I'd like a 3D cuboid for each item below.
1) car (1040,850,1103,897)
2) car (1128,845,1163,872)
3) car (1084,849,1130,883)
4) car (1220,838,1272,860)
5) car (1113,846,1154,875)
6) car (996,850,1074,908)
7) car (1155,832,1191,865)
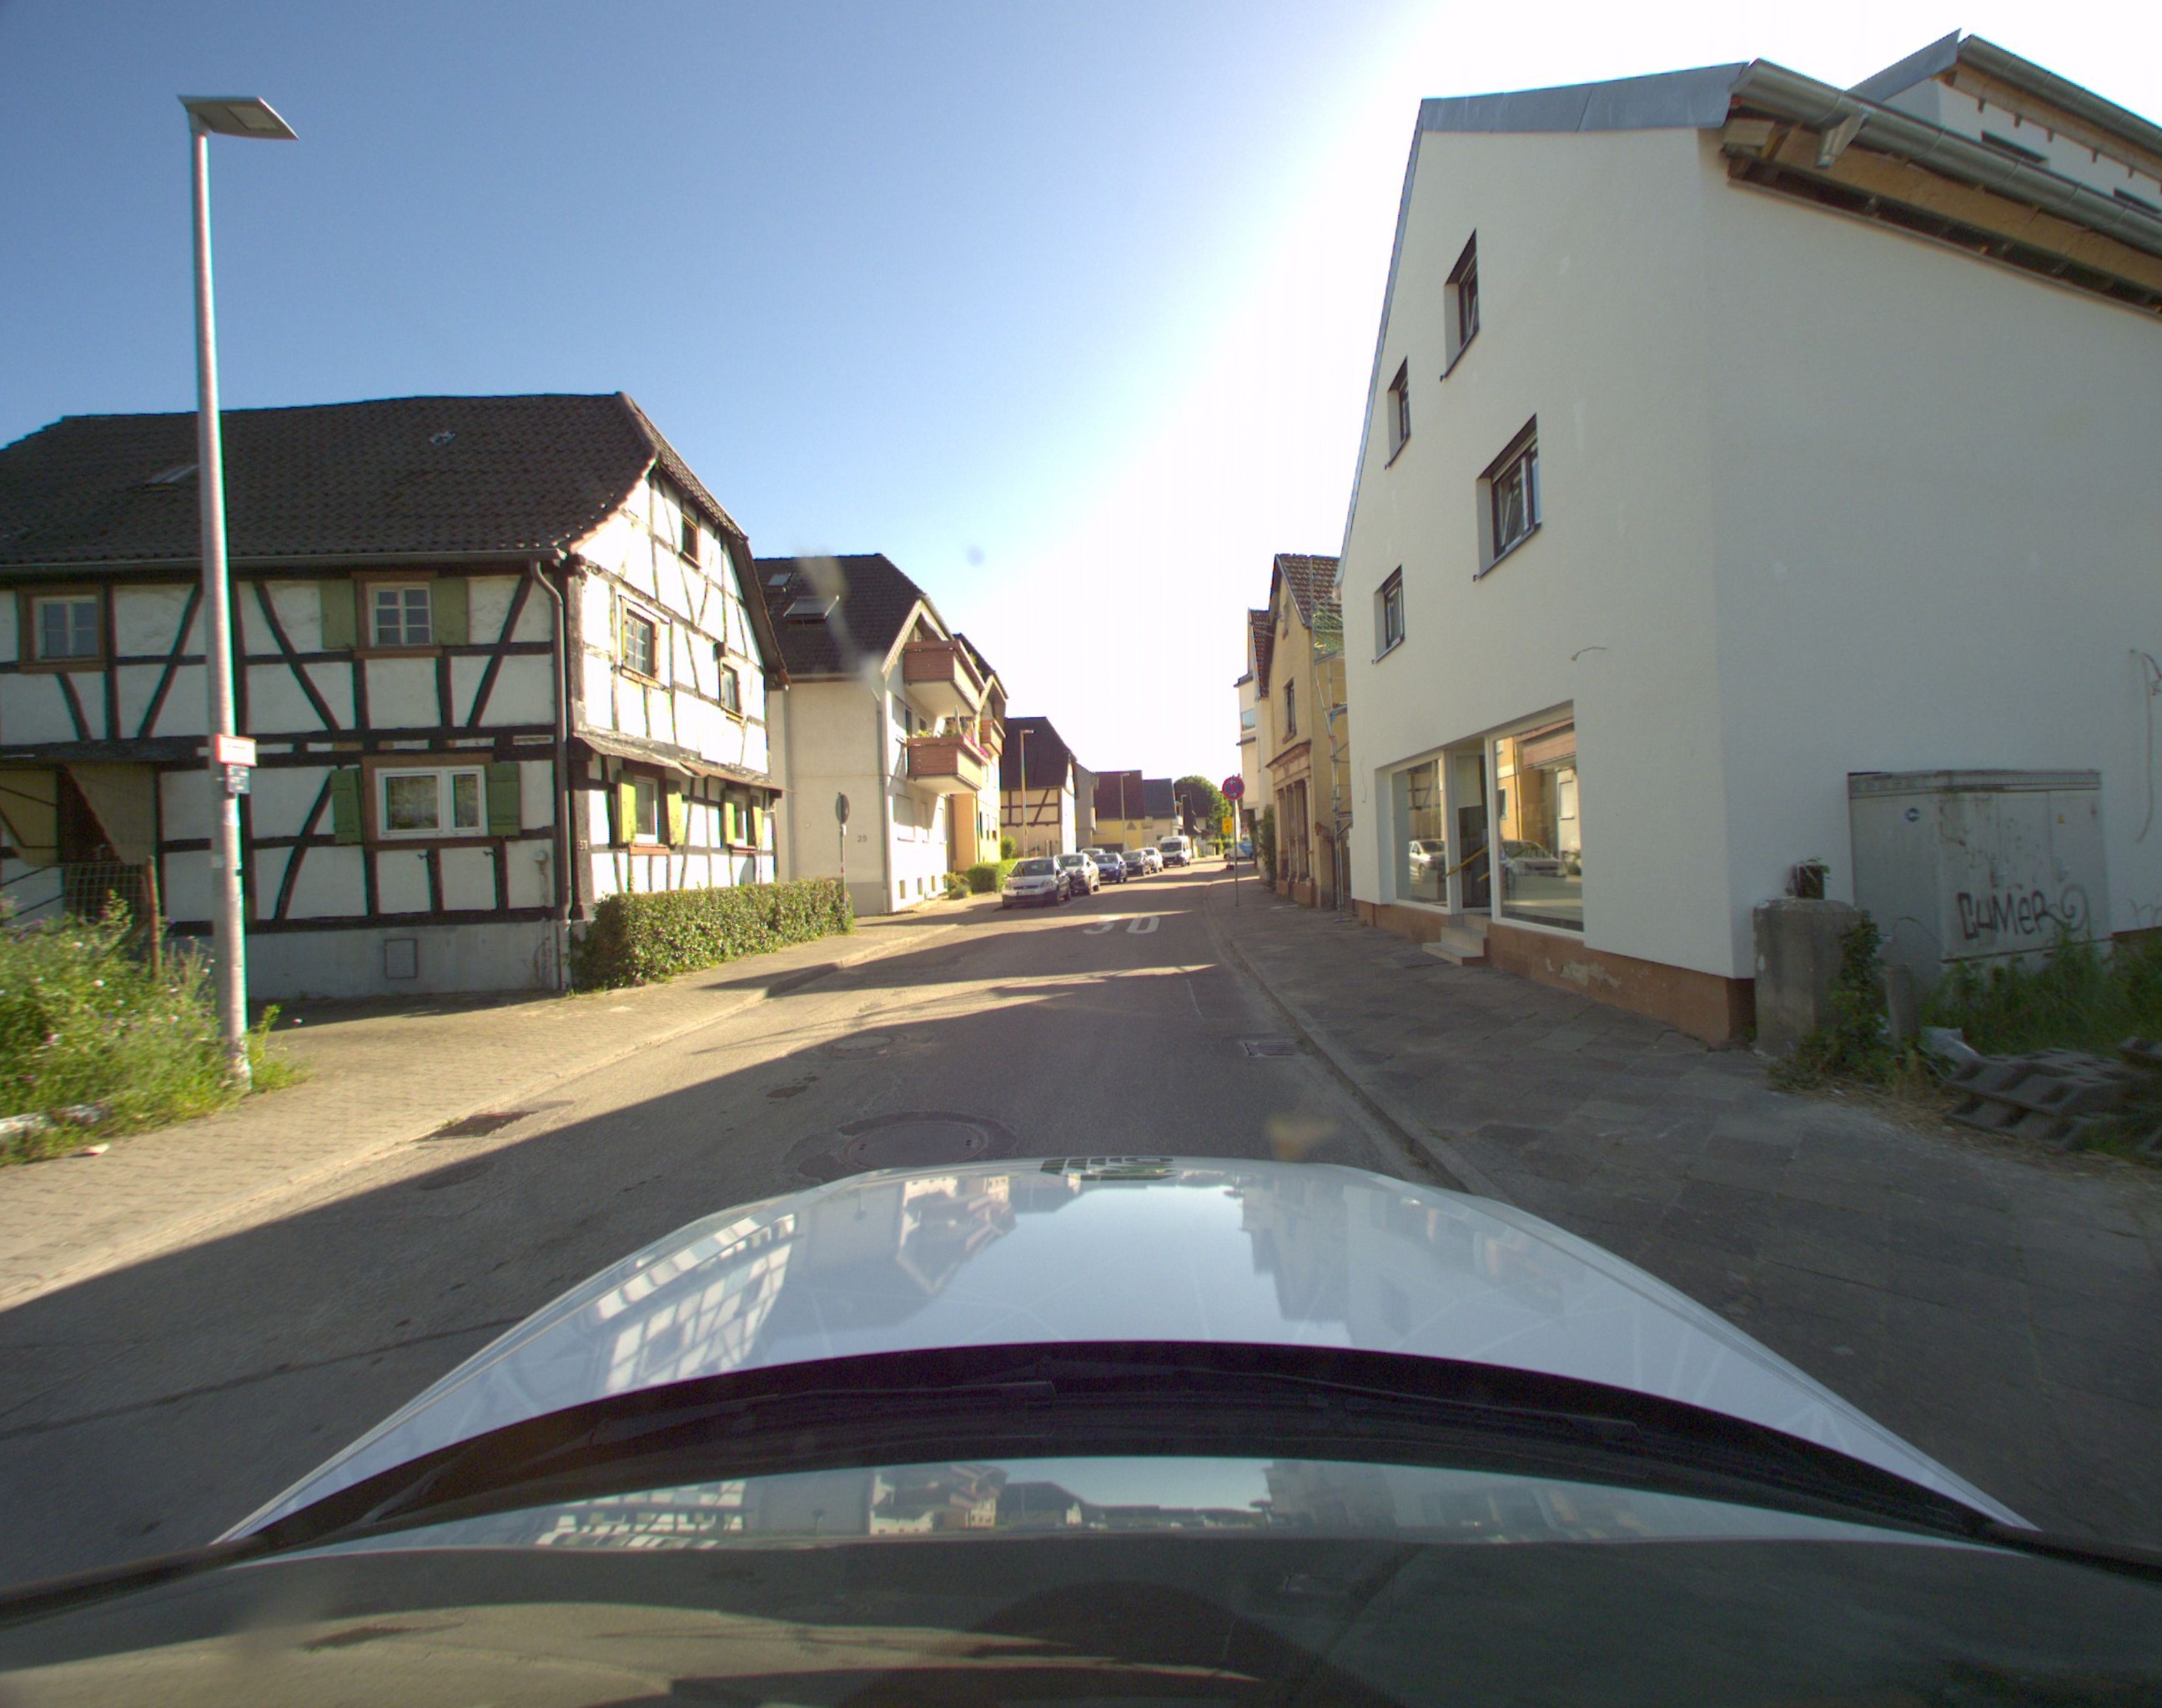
[{"bbox_3d":[-0.283,0.667,30.329,1.664,1.506,4.104,-4,0,8],"label":"car"},{"bbox_3d":[4.221,0.258,52.762,1.662,1.572,3.979,-4,0,12],"label":"car"},{"bbox_3d":[1.291,0.531,39.038,1.629,1.441,4.085,-3,0,9],"label":"car"},{"bbox_3d":[16.278,-0.481,80.523,1.938,1.801,4.721,-5,1,-44],"label":"car"},{"bbox_3d":[3.164,0.374,48.588,1.692,1.518,4.136,-4,0,13],"label":"car"},{"bbox_3d":[-1.327,0.708,25.170,1.622,1.505,3.861,-5,0,7],"label":"car"},{"bbox_3d":[7.447,-0.462,65.349,2.062,2.394,5.229,-4,0,14],"label":"car"}]
